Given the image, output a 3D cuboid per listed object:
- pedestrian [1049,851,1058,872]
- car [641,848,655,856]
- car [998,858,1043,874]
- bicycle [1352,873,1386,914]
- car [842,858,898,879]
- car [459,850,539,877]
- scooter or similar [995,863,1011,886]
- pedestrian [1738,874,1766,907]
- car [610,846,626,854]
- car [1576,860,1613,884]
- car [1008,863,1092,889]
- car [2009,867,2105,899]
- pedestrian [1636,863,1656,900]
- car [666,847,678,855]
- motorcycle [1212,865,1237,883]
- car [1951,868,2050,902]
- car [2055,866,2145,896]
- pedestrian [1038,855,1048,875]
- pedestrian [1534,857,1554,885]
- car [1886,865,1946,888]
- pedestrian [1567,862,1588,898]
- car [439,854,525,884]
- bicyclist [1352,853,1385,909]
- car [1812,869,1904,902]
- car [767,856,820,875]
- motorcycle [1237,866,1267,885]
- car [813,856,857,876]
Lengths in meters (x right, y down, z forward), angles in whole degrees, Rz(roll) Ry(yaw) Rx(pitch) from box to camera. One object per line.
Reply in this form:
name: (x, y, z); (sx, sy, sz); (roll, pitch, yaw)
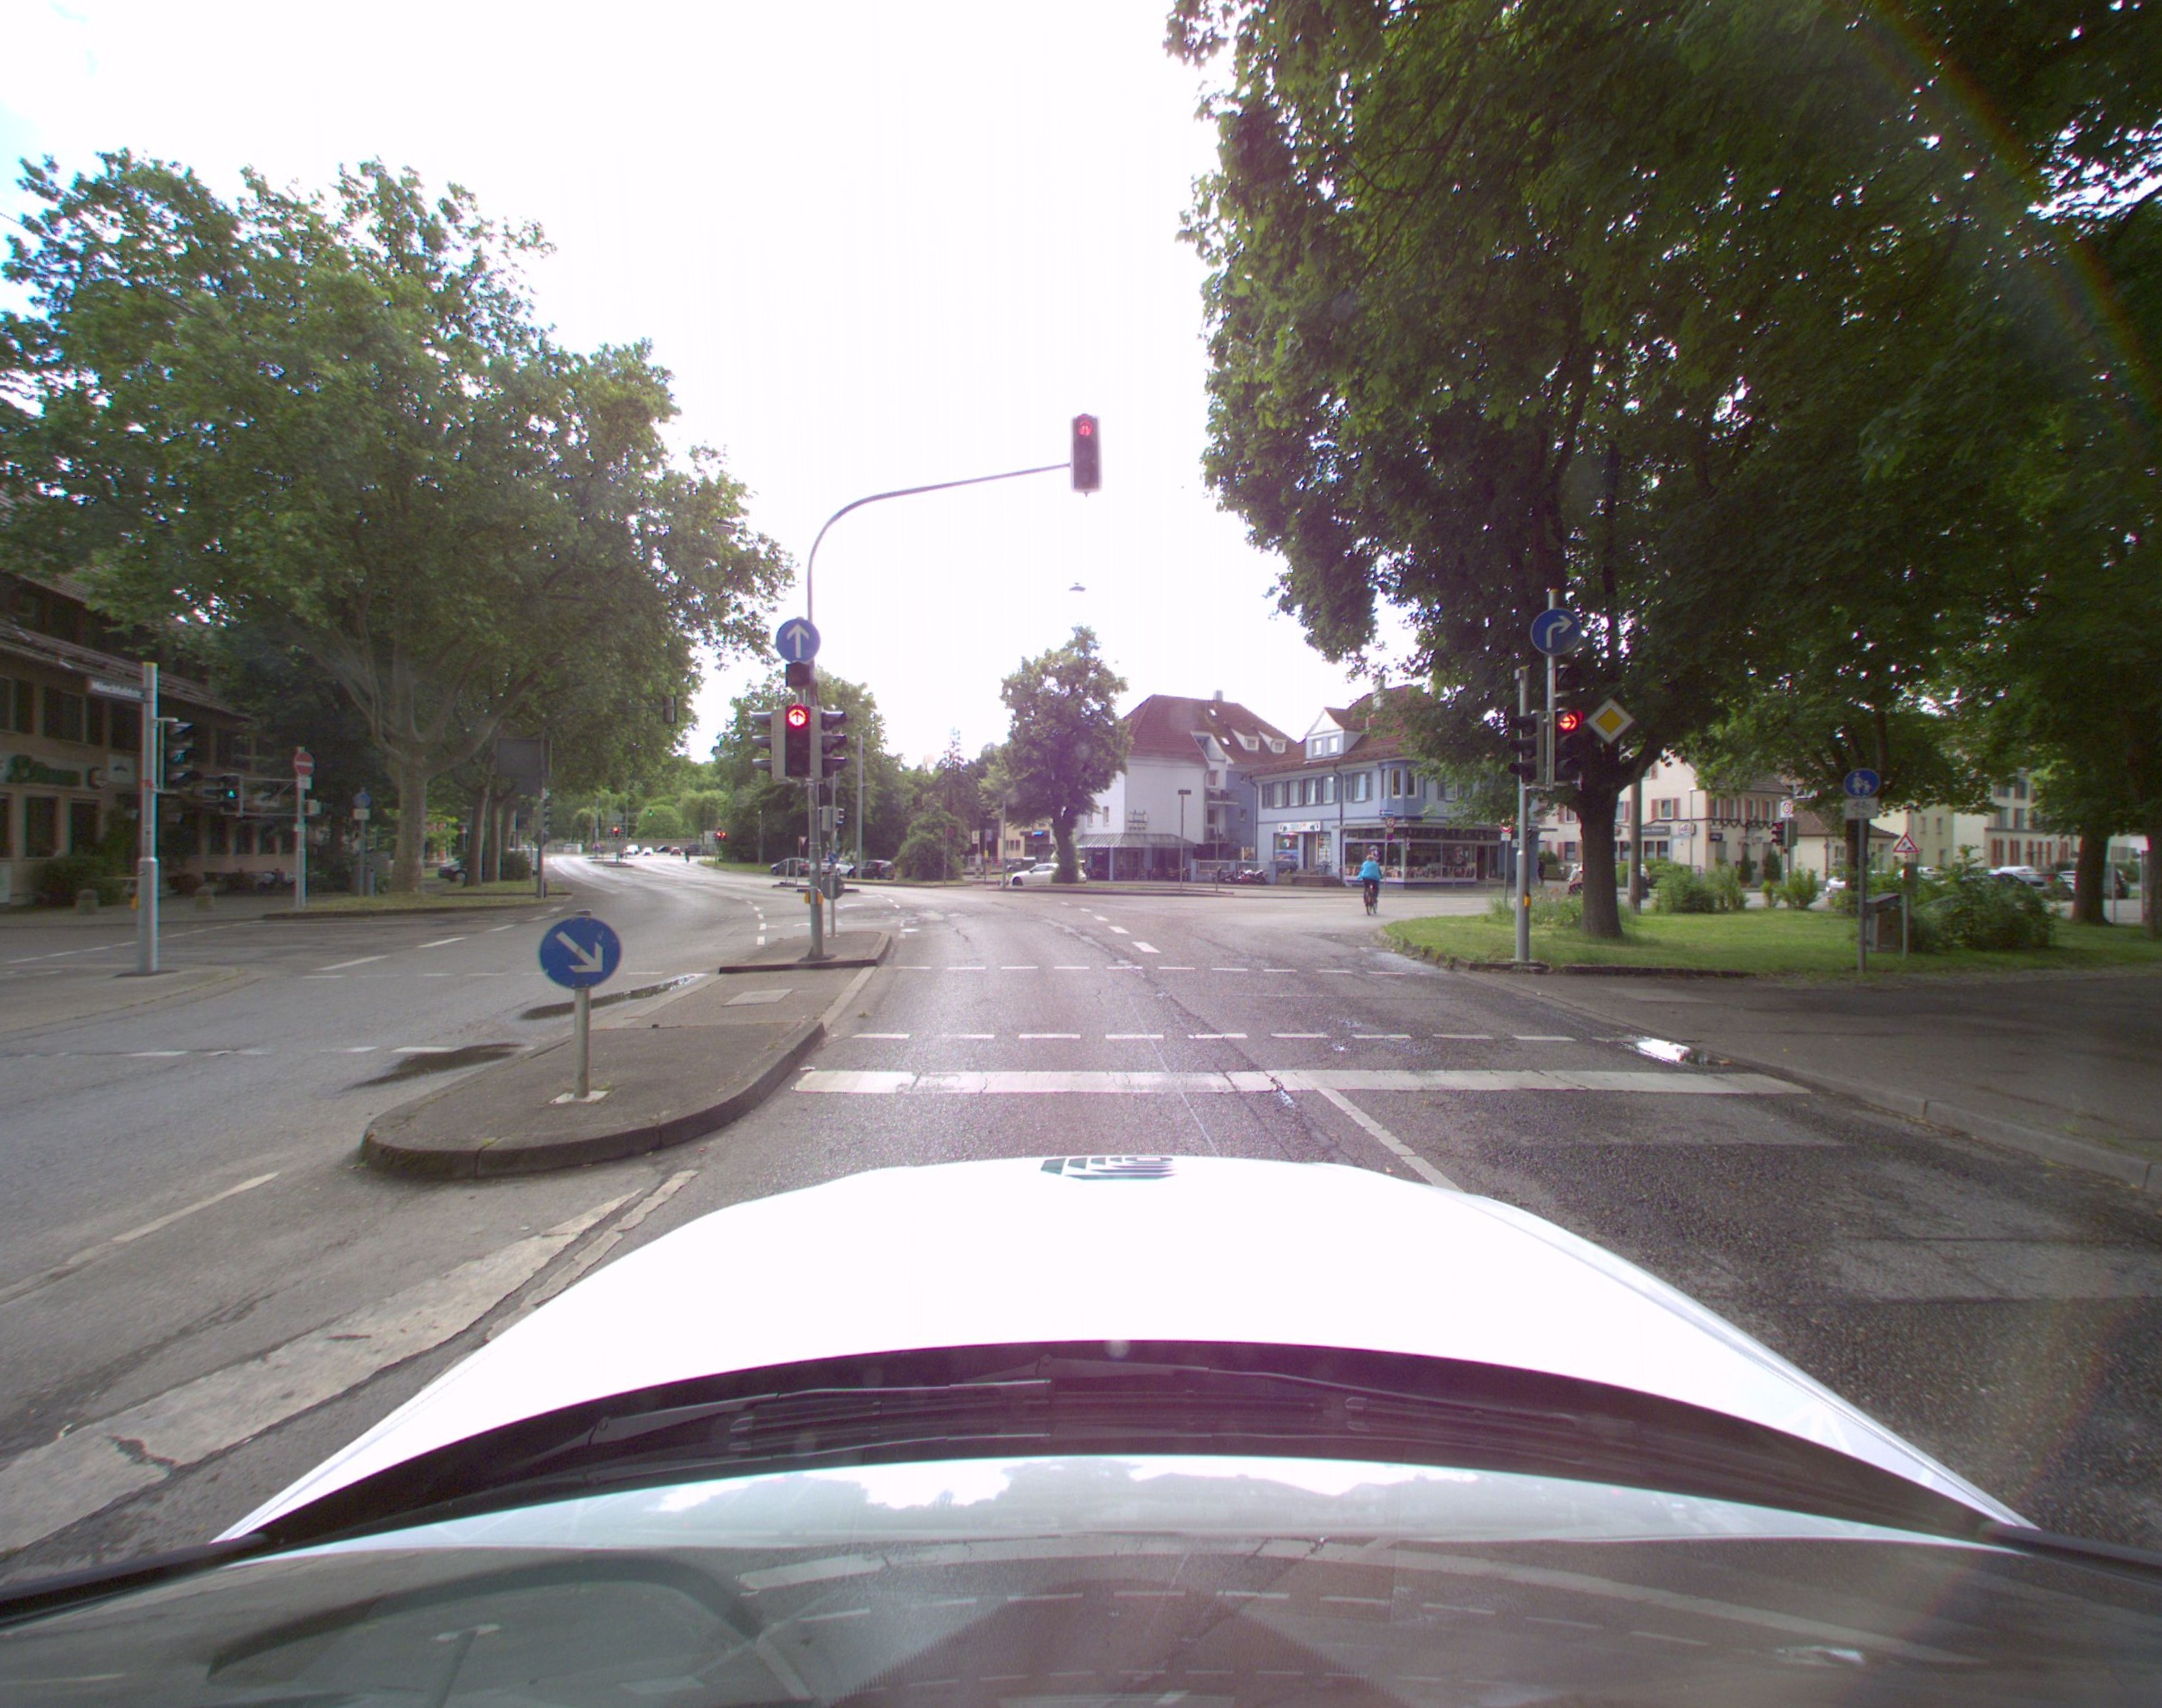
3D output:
pedestrian: (-2.021, 0.551, 59.778); (0.538, 1.560, 0.470); (-1, -1, 15)
car: (-83.580, -0.377, 157.075); (2.988, 1.417, 1.509); (-1, -2, 43)
car: (-5.651, 1.137, 76.317); (3.948, 1.442, 1.742); (0, 0, -18)
bicycle: (8.773, 1.179, 24.781); (0.866, 1.149, 1.963); (0, 0, 22)
car: (-14.062, 0.977, 54.365); (3.285, 1.352, 1.791); (0, 0, 29)
car: (-36.684, 0.584, 51.439); (4.016, 1.684, 1.979); (0, -1, -34)
scooter or similar: (-4.138, 1.084, 43.254); (0.439, 1.175, 1.442); (0, 0, 11)
pedestrian: (22.564, 1.233, 27.380); (0.505, 1.081, 0.514); (0, -1, -13)
car: (-87.229, -0.732, 153.368); (3.293, 1.486, 1.594); (-1, -2, 43)
car: (32.241, 1.110, 51.189); (1.866, 1.391, 3.637); (0, 0, 31)
car: (-1.794, 1.229, 46.351); (4.654, 1.410, 1.914); (0, 0, 37)
car: (46.916, 1.369, 39.151); (3.731, 1.457, 1.640); (0, 0, -17)
pedestrian: (24.476, 1.182, 35.288); (0.687, 1.560, 0.671); (-1, -1, 32)
car: (-84.740, -0.685, 168.597); (2.006, 1.596, 3.961); (0, -1, -30)
motorcycle: (8.918, 1.256, 50.513); (1.441, 1.088, 0.527); (-1, -1, 37)
car: (42.189, 1.375, 37.367); (3.731, 1.457, 1.640); (0, 0, -17)
car: (52.421, 1.370, 41.913); (3.731, 1.457, 1.640); (0, 0, -17)
pedestrian: (-3.800, 1.116, 81.750); (0.838, 2.014, 1.051); (0, 0, -13)
pedestrian: (26.191, 0.957, 46.065); (0.671, 1.560, 0.743); (0, -1, -13)
car: (55.425, 1.475, 54.060); (3.871, 1.447, 1.753); (0, -1, -28)
pedestrian: (21.755, 1.142, 35.688); (0.724, 1.560, 0.773); (-1, -1, 32)
car: (-35.843, 0.863, 48.874); (4.016, 1.684, 1.979); (0, -1, -34)
bicyclist: (8.709, 0.802, 24.660); (0.907, 1.651, 0.994); (0, -1, 22)
car: (31.824, 1.255, 33.386); (3.008, 1.267, 1.455); (0, -1, -17)
car: (-22.871, 0.928, 64.840); (3.742, 1.465, 1.629); (0, 0, 20)
motorcycle: (10.219, 1.270, 48.716); (1.609, 1.088, 0.631); (-1, -1, 33)
car: (-20.429, 0.985, 67.742); (1.848, 1.640, 3.767); (0, 0, 13)
